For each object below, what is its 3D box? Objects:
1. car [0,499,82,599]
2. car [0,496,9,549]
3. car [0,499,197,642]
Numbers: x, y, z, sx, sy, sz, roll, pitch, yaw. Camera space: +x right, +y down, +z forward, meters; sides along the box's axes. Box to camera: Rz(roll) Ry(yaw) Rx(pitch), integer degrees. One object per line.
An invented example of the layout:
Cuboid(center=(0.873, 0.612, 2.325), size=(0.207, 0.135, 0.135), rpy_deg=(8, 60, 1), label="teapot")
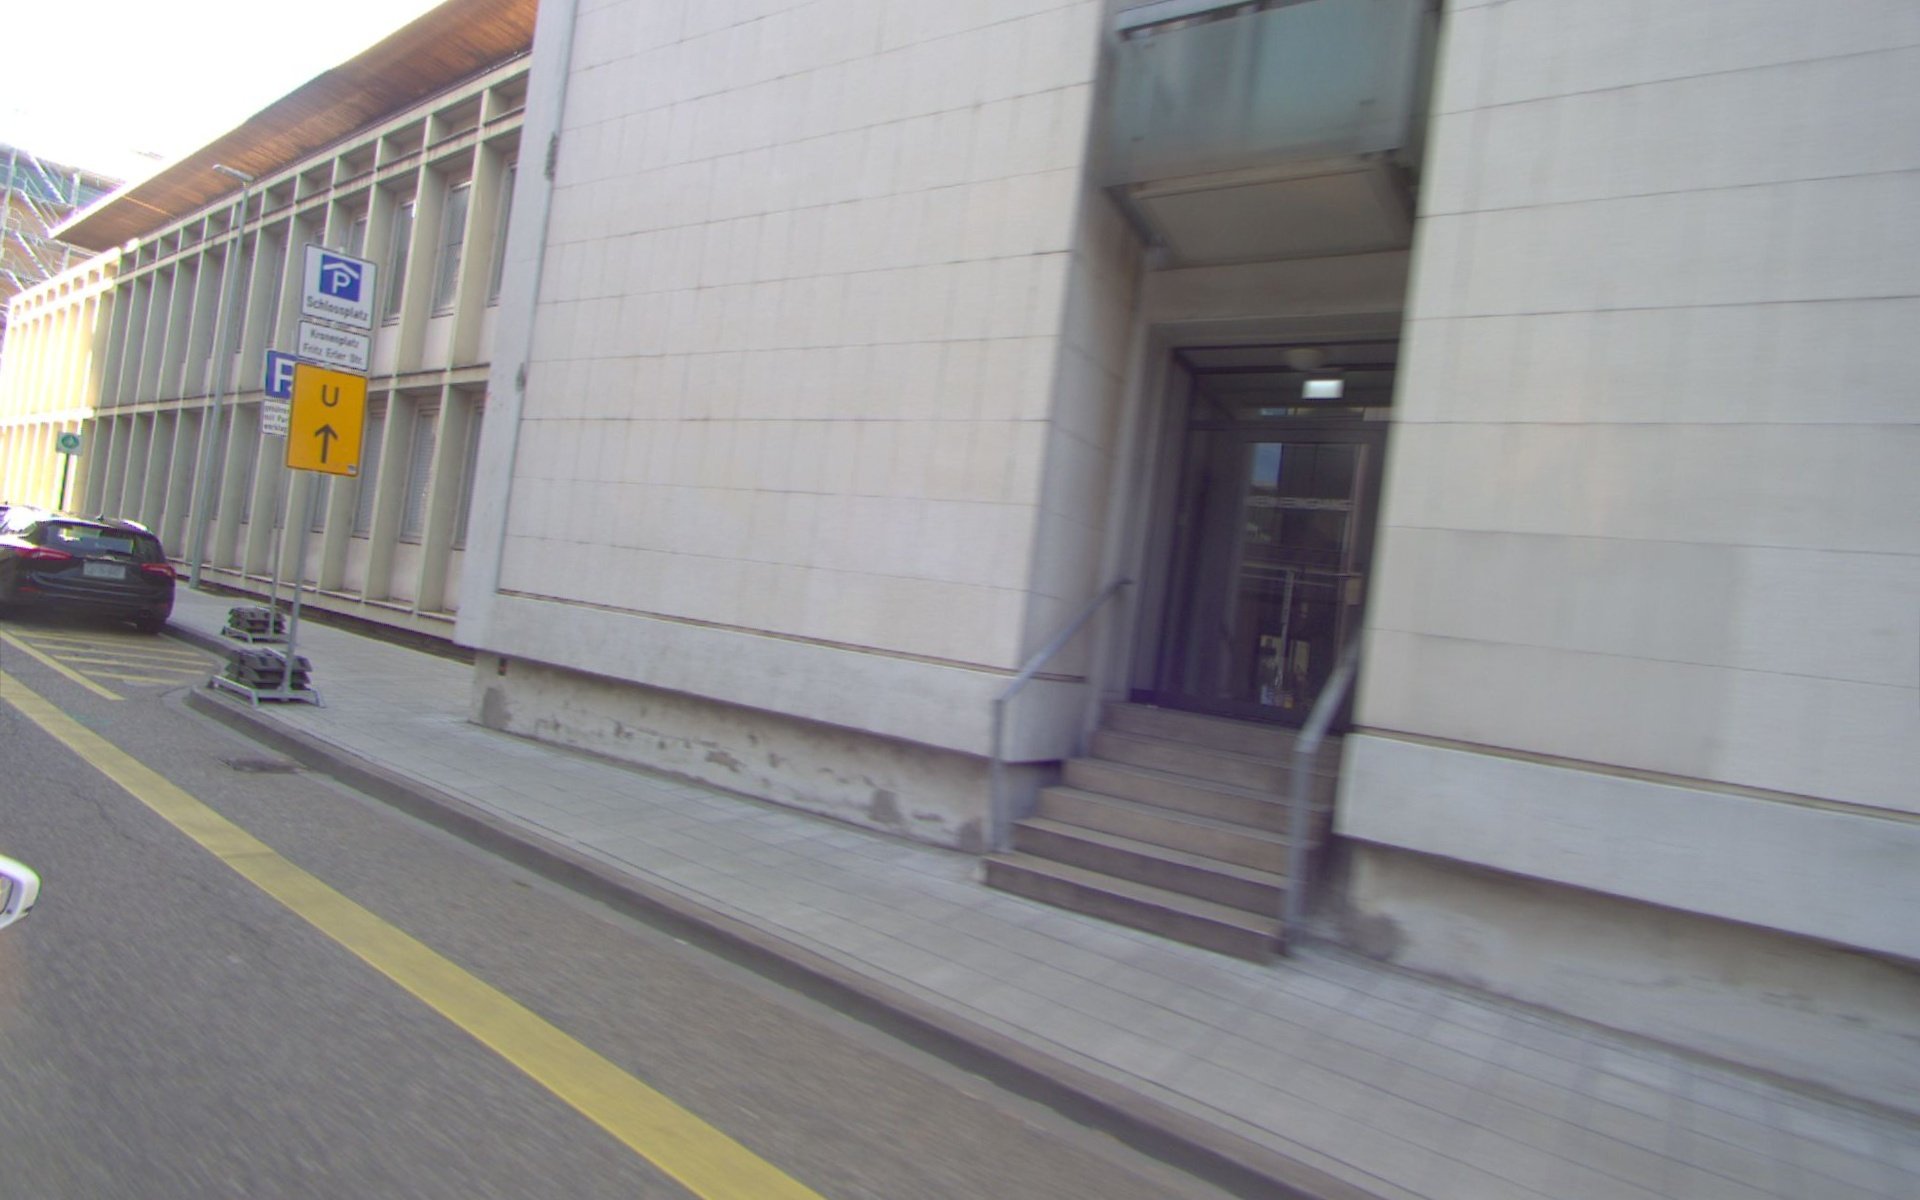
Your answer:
Cuboid(center=(-16.967, -1.007, 17.345), size=(4.223, 1.497, 1.782), rpy_deg=(6, -2, 37), label="car")
Cuboid(center=(-21.681, -1.659, 20.934), size=(4.664, 1.517, 1.827), rpy_deg=(7, -3, 37), label="car")
Cuboid(center=(-12.479, -0.506, 13.933), size=(4.223, 1.495, 1.785), rpy_deg=(7, -3, 37), label="car")
